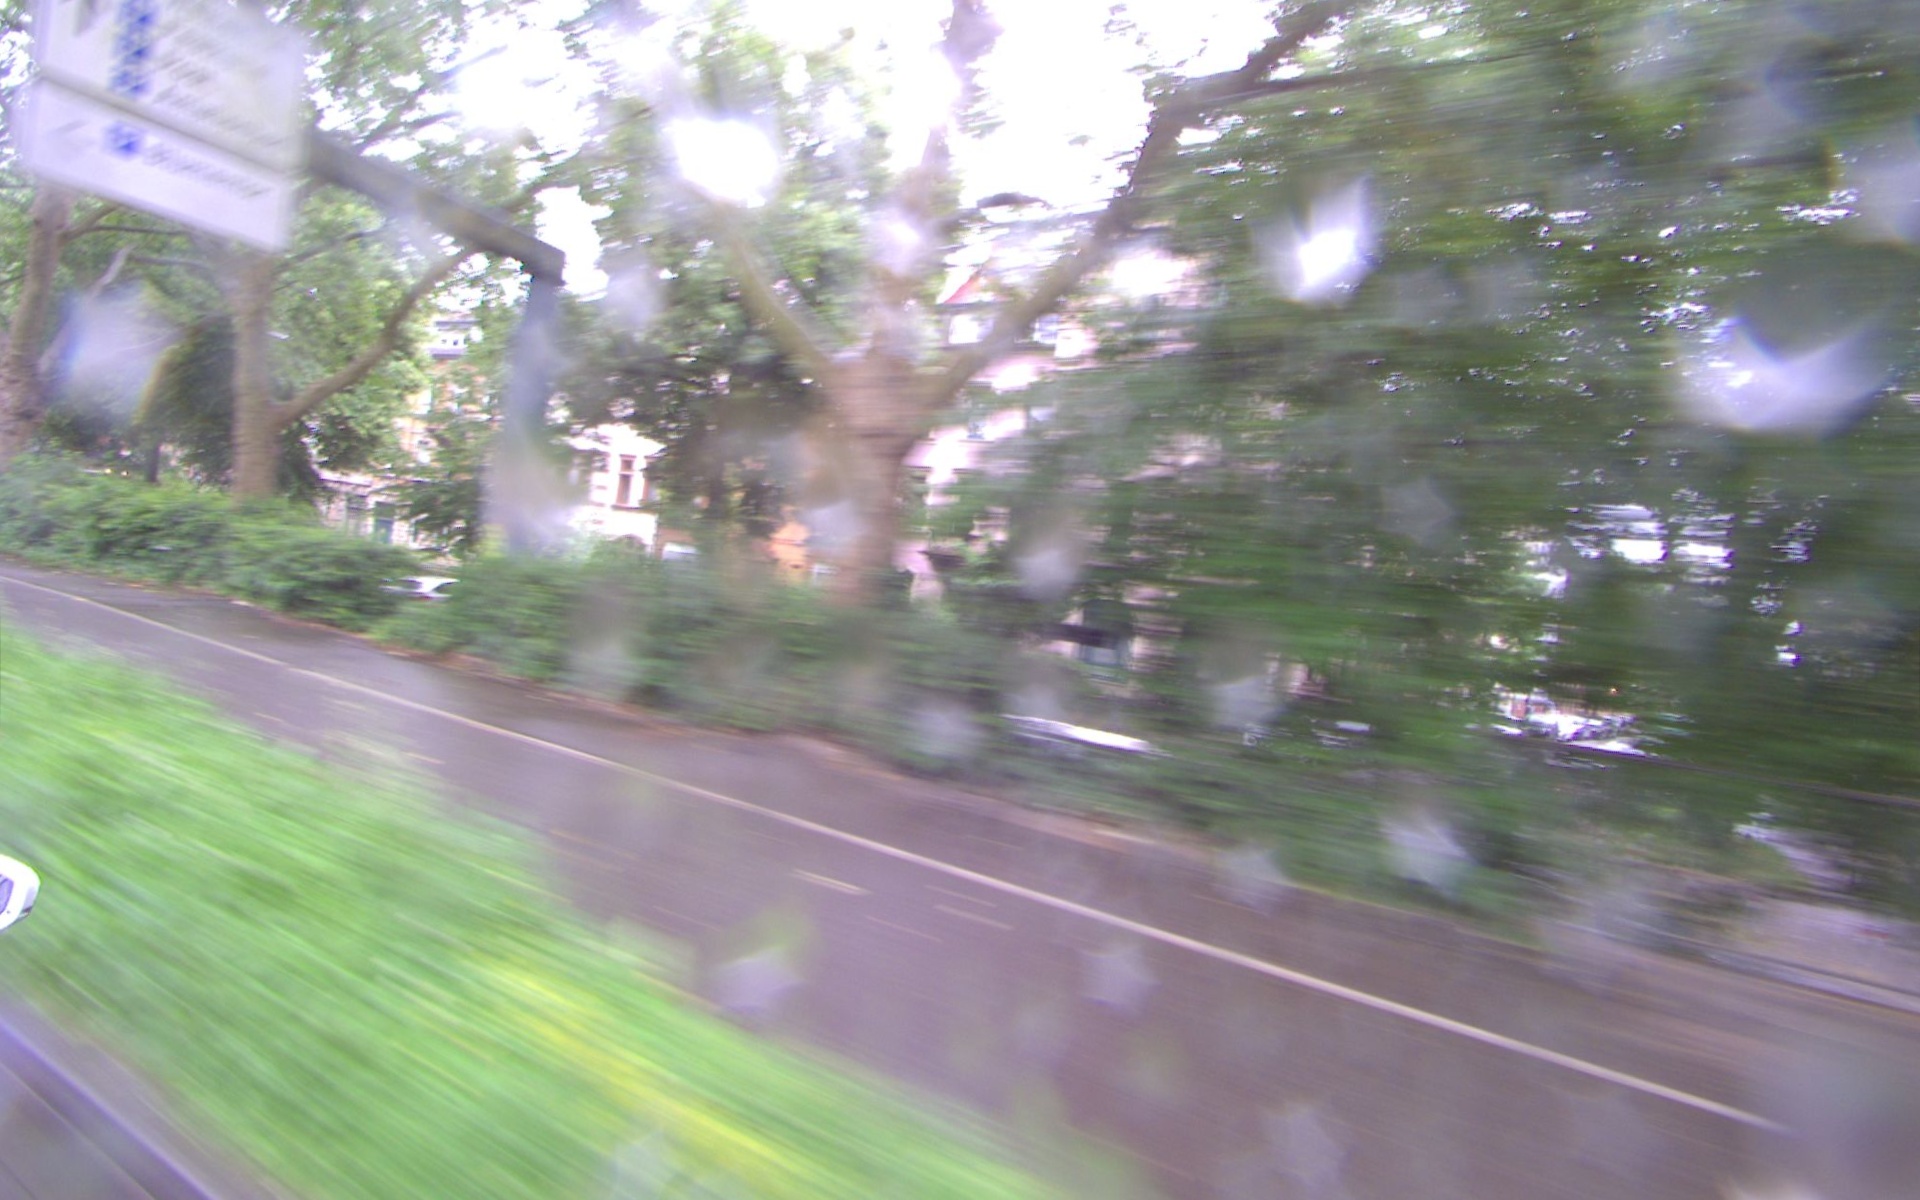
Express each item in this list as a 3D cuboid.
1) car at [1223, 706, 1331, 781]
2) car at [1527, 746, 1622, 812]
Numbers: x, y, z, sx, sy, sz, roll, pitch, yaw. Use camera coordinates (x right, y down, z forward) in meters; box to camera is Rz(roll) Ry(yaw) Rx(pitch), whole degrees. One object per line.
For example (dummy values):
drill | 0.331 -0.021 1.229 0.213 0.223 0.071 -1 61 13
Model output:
car | 9.040 3.975 28.469 1.894 1.679 3.994 6 -2 31
car | 18.681 5.348 30.502 1.898 1.487 3.895 6 -2 39
